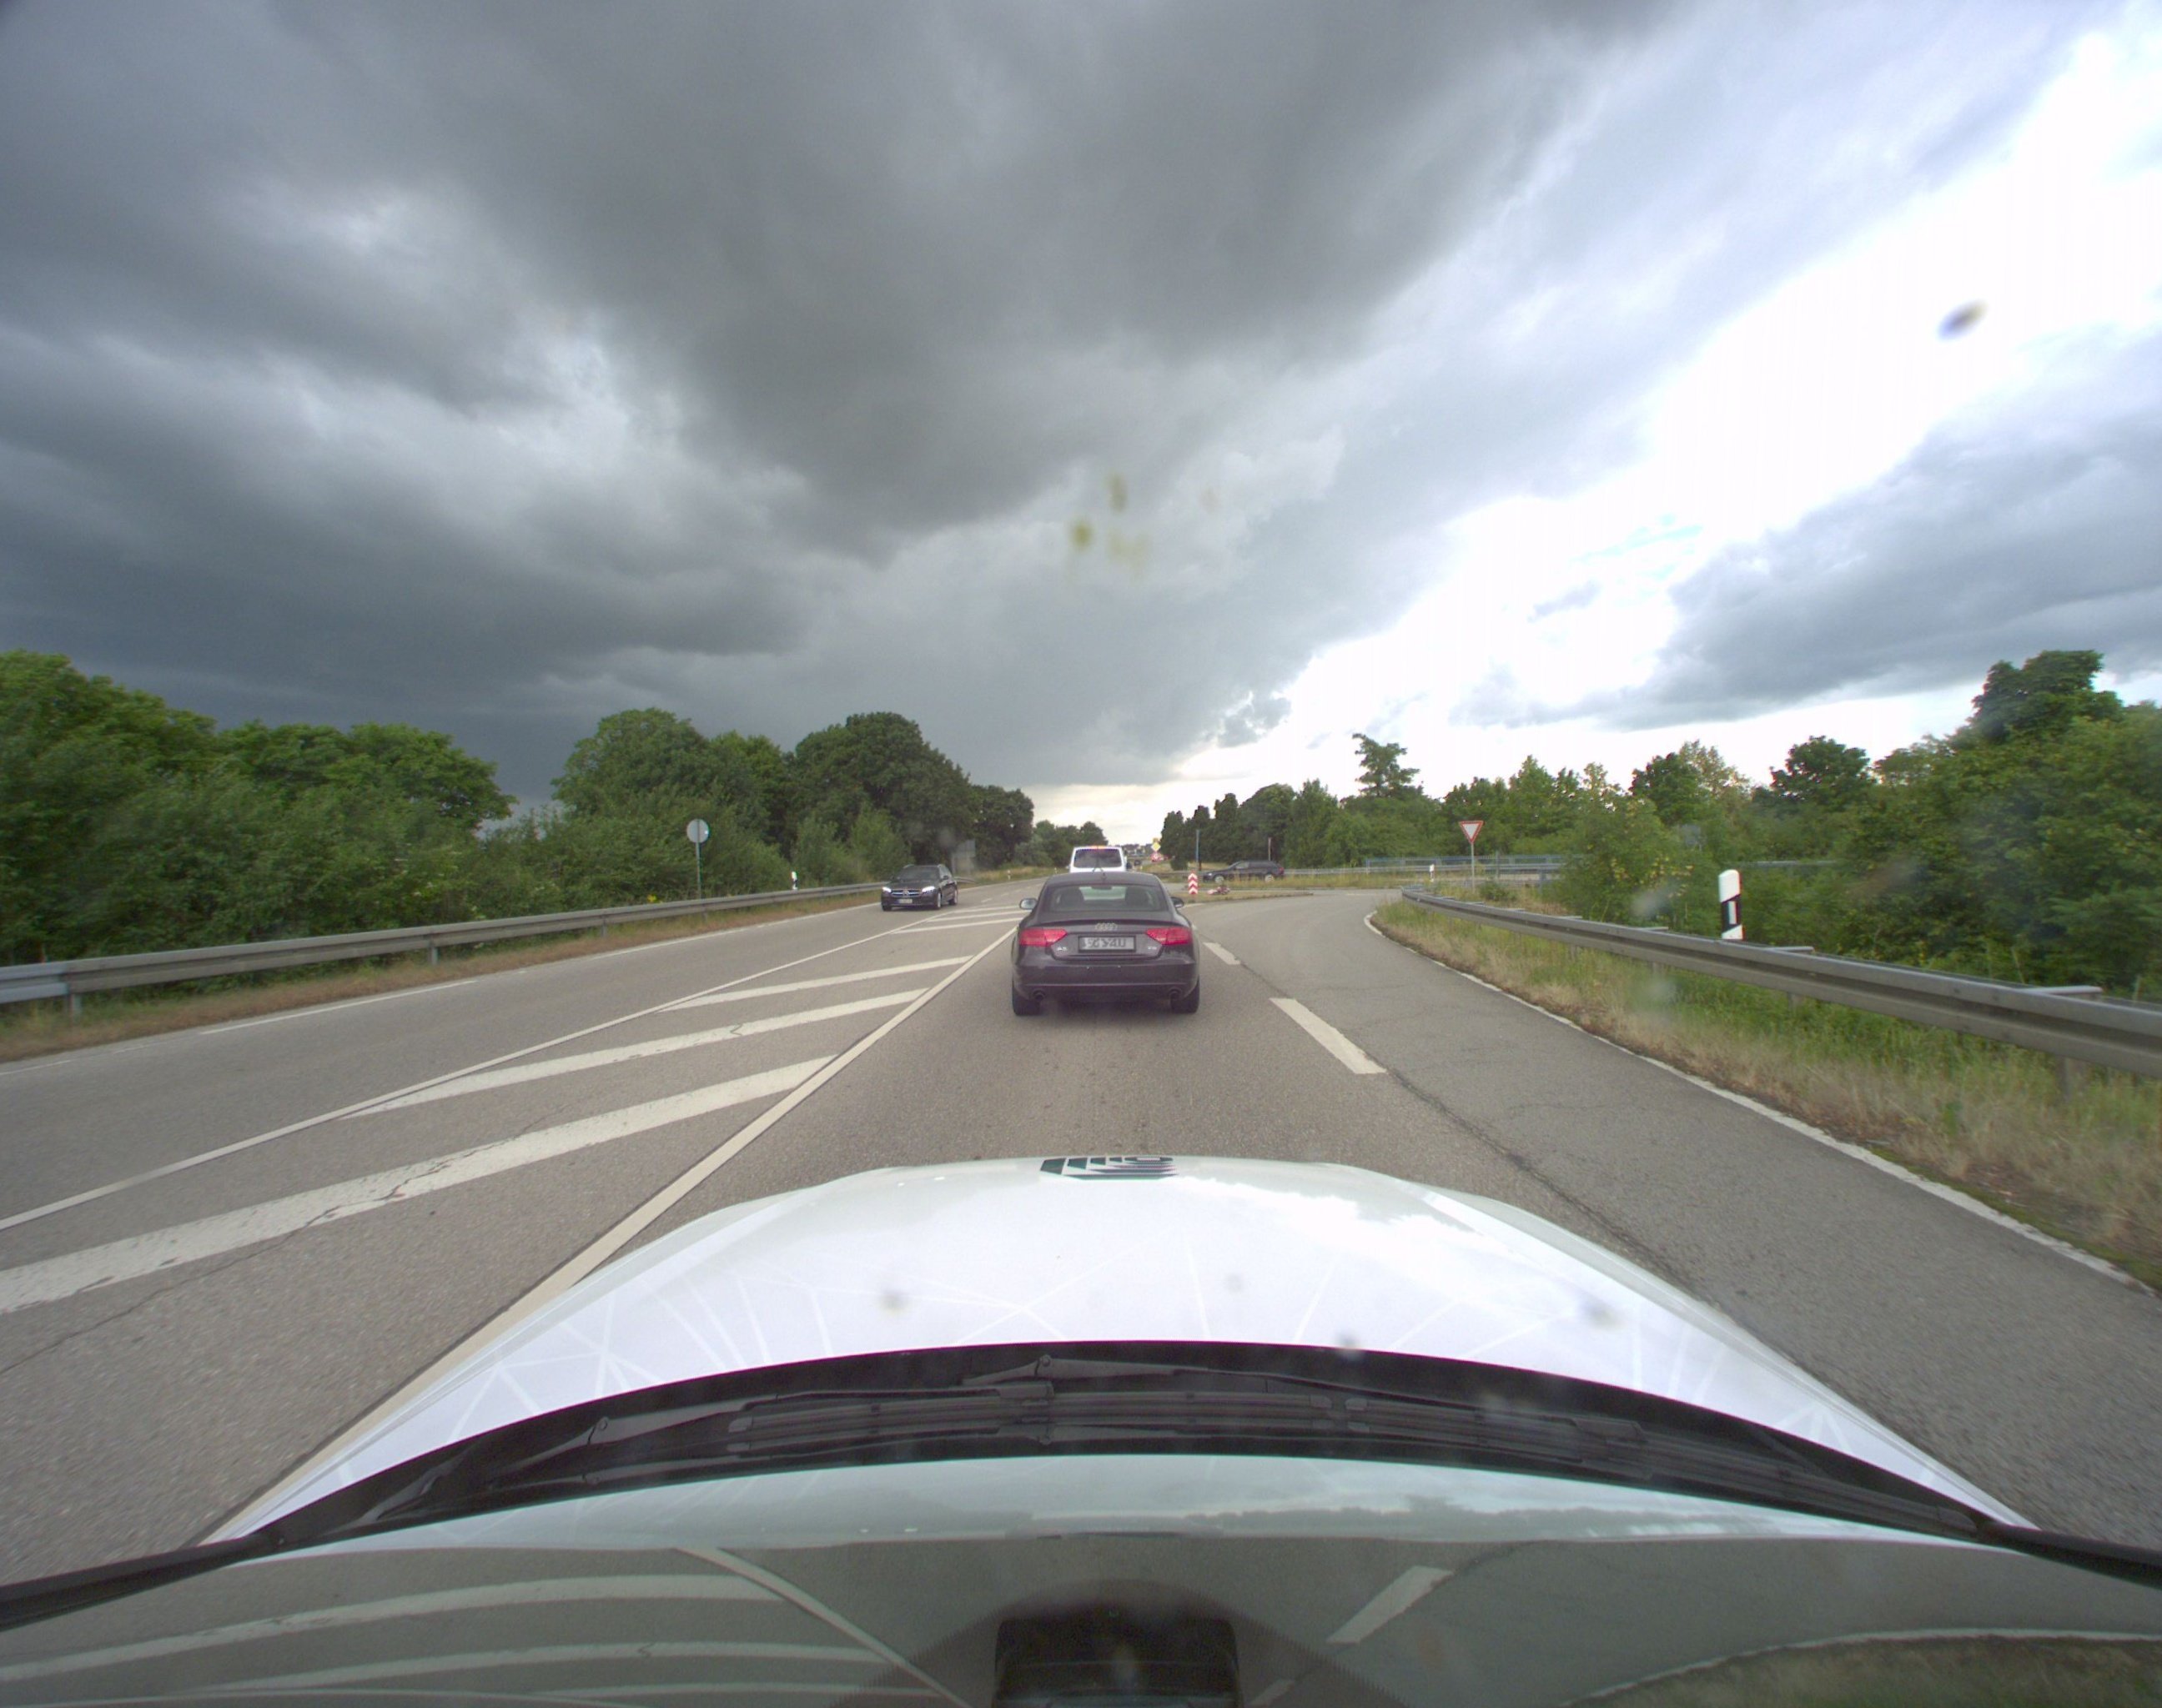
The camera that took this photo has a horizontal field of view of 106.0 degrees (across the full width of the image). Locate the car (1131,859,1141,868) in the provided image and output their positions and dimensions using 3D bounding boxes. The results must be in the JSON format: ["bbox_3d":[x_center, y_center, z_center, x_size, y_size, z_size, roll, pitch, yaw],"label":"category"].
[{"bbox_3d":[13.208,2.349,196.192,1.986,2.013,4.001,-3,-1,1],"label":"car"}]

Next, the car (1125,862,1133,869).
[{"bbox_3d":[9.917,2.337,168.315,1.712,1.451,4.003,0,-1,3],"label":"car"}]

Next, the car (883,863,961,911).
[{"bbox_3d":[-5.250,1.058,27.405,1.665,1.429,4.258,-1,0,1],"label":"car"}]

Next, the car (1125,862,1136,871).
[{"bbox_3d":[7.551,1.886,124.208,1.251,1.353,3.473,-2,-1,8],"label":"car"}]

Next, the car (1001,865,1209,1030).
[{"bbox_3d":[0.269,0.833,9.027,1.776,1.376,4.002,-1,0,2],"label":"car"}]

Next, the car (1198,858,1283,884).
[{"bbox_3d":[9.066,0.945,46.605,4.577,1.374,1.827,-1,-1,2],"label":"car"}]

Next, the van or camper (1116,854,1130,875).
[{"bbox_3d":[7.227,1.867,139.682,2.330,3.481,5.724,-1,-1,4],"label":"van or camper"}]

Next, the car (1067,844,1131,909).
[{"bbox_3d":[0.593,0.669,25.833,1.832,1.882,4.002,-1,0,2],"label":"car"}]

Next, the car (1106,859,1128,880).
[{"bbox_3d":[3.697,1.545,83.045,1.984,2.088,4.005,-1,-1,5],"label":"car"}]
